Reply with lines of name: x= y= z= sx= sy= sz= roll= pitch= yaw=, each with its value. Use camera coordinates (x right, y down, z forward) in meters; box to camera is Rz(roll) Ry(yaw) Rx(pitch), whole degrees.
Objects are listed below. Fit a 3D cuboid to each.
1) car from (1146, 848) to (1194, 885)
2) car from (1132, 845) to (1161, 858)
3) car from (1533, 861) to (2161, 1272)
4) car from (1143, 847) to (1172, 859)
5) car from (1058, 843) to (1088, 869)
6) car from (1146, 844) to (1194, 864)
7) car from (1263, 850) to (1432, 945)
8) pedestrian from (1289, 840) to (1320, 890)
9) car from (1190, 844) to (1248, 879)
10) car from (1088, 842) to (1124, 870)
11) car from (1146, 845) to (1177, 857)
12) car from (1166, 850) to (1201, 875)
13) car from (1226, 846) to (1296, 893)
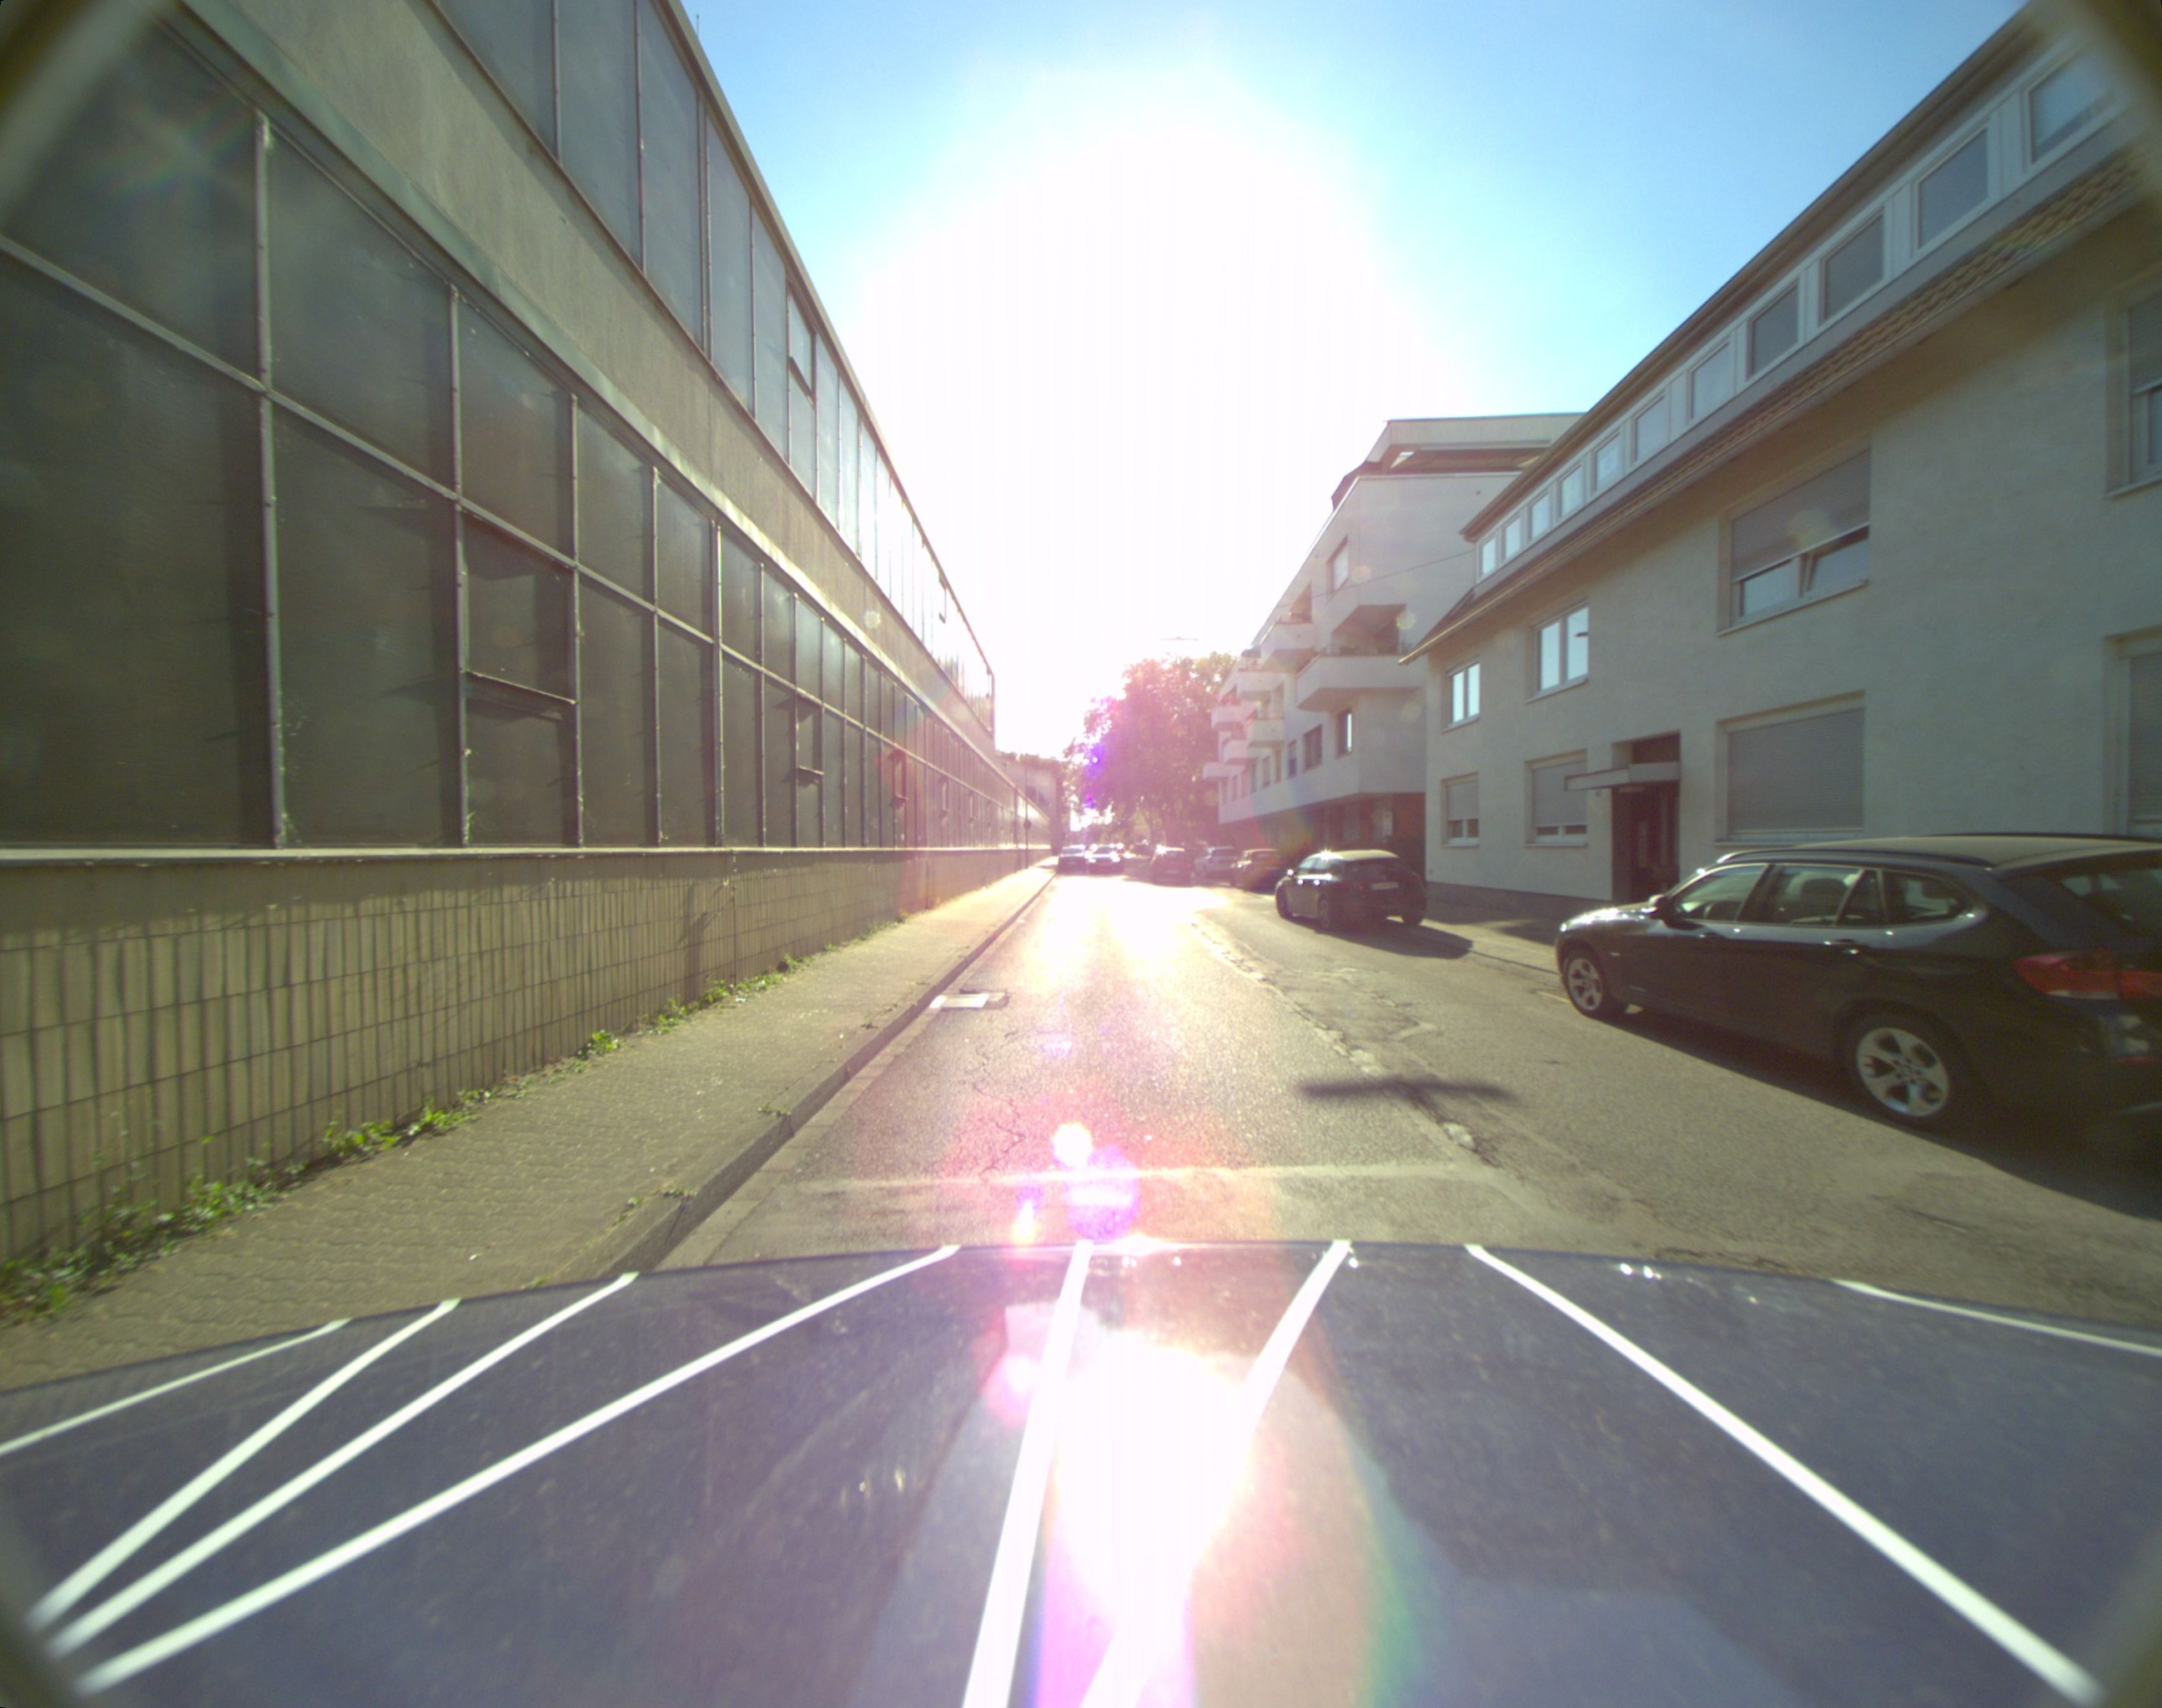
car: x=3.793 y=0.483 z=32.946 sx=1.846 sy=1.482 sz=4.144 roll=0 pitch=1 yaw=3
car: x=9.873 y=-0.386 z=113.992 sx=4.005 sy=1.876 sz=1.713 roll=-2 pitch=1 yaw=-26
car: x=5.320 y=0.891 z=5.255 sx=1.862 sy=1.577 sz=4.336 roll=-3 pitch=0 yaw=2
car: x=10.934 y=-0.138 z=108.600 sx=3.602 sy=1.552 sz=1.647 roll=-2 pitch=1 yaw=-18
car: x=-0.545 y=0.075 z=50.567 sx=1.812 sy=1.578 sz=4.403 roll=-3 pitch=1 yaw=-1
car: x=8.078 y=-0.026 z=68.815 sx=3.965 sy=1.653 sz=1.696 roll=-2 pitch=1 yaw=-27
car: x=5.167 y=0.750 z=15.402 sx=1.689 sy=1.526 sz=4.333 roll=-3 pitch=1 yaw=-3
pedestrian: x=8.486 y=0.406 z=28.863 sx=0.862 sy=1.808 sz=1.133 roll=-4 pitch=0 yaw=25
car: x=6.810 y=0.311 z=38.034 sx=1.863 sy=1.578 sz=4.619 roll=-3 pitch=1 yaw=-2
car: x=1.466 y=0.103 z=45.694 sx=1.855 sy=1.527 sz=3.855 roll=-3 pitch=1 yaw=-2
car: x=11.261 y=-0.371 z=106.253 sx=4.002 sy=1.615 sz=1.795 roll=-1 pitch=1 yaw=-14
car: x=6.671 y=0.540 z=49.673 sx=1.679 sy=1.425 sz=3.769 roll=-3 pitch=1 yaw=0
car: x=6.653 y=0.521 z=28.496 sx=1.672 sy=1.527 sz=3.856 roll=-3 pitch=1 yaw=0
